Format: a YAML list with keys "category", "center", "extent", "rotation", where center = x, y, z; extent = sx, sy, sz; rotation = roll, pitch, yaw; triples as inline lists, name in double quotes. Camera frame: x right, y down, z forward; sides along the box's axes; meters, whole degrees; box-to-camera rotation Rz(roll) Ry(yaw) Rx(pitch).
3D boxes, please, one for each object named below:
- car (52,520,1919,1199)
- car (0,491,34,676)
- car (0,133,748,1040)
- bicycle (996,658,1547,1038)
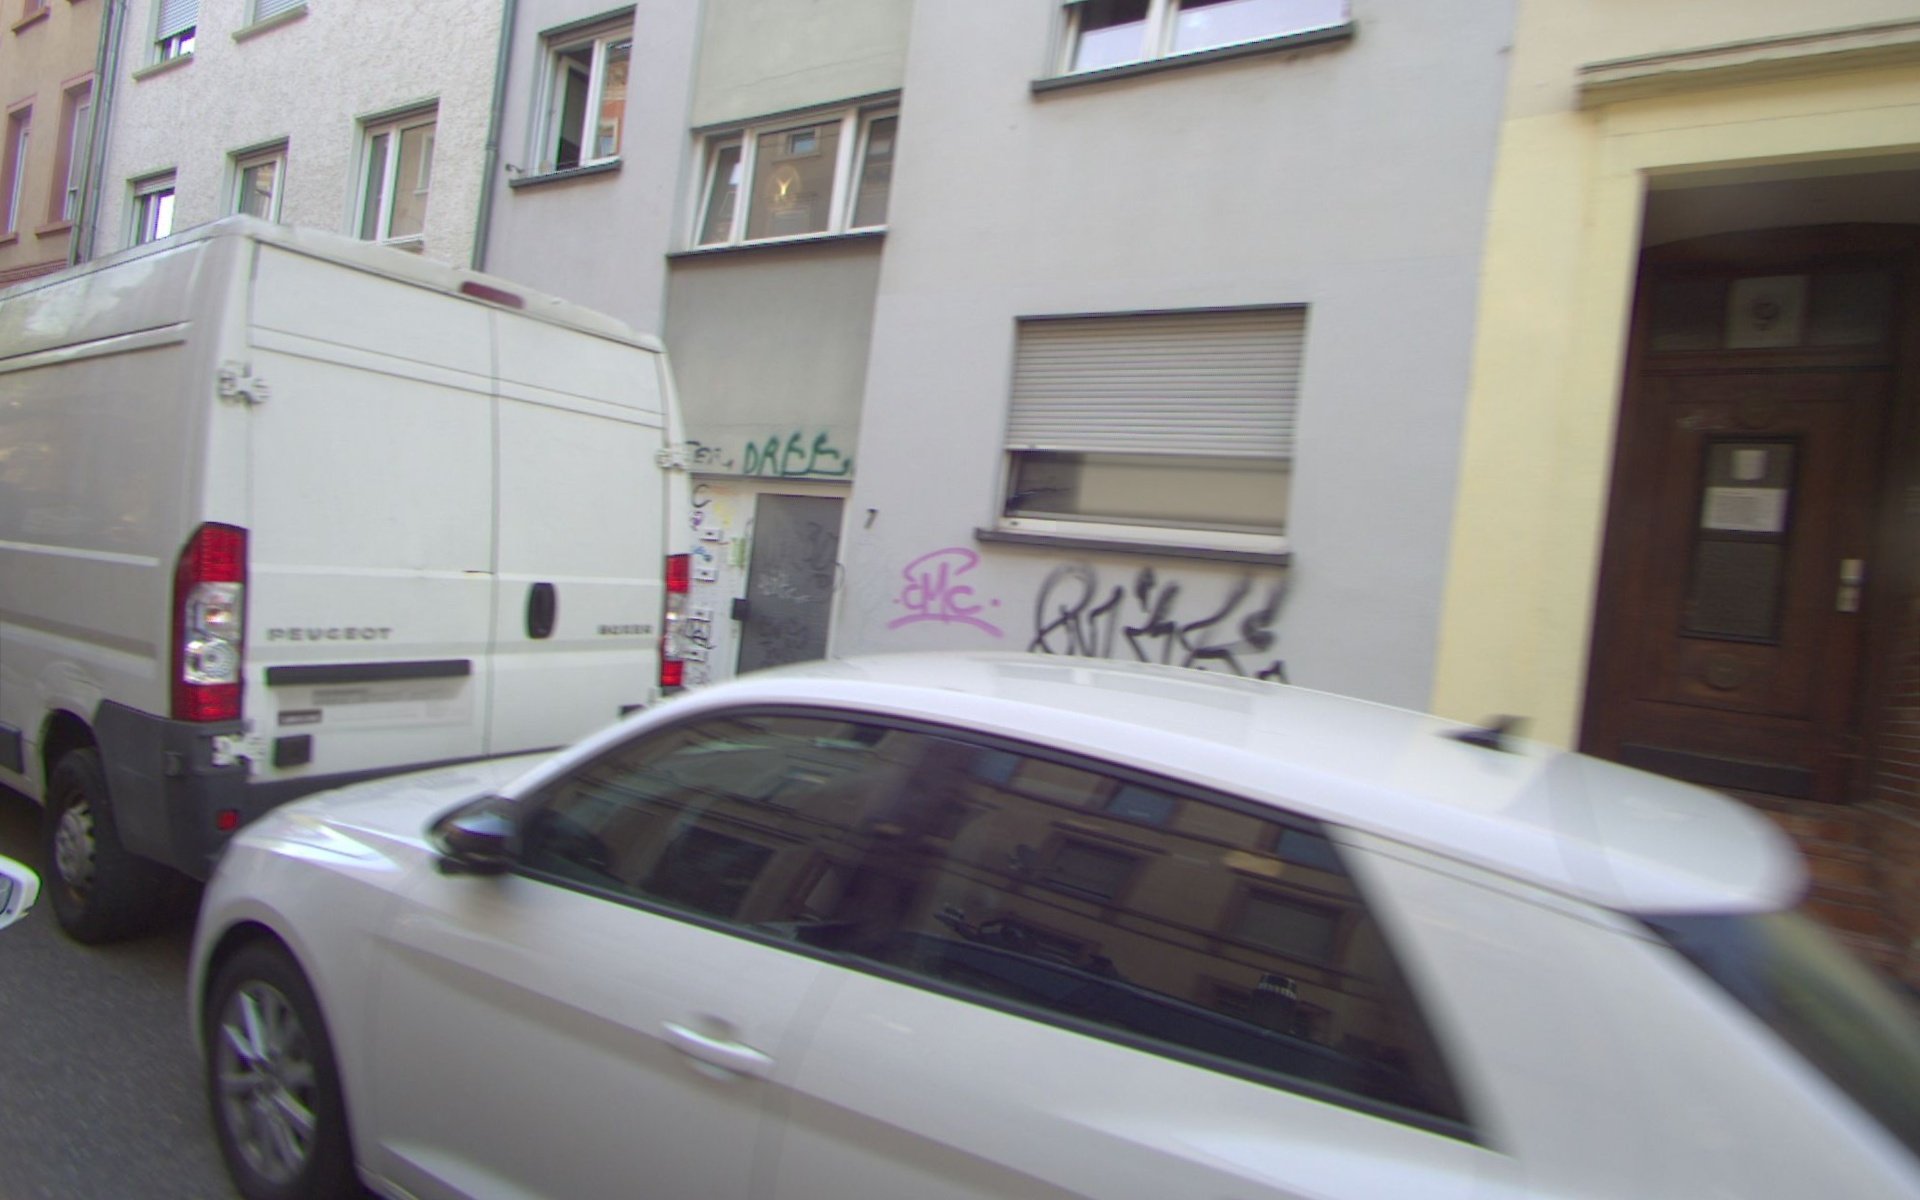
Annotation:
- category: "car"
  center: [-0.231, 0.775, 2.416]
  extent: [3.767, 1.447, 1.728]
  rotation: [7, 0, 30]
- category: "car"
  center: [-9.808, -0.389, 8.438]
  extent: [3.951, 1.488, 1.735]
  rotation: [7, 0, 28]
- category: "car"
  center: [-4.192, -0.236, 5.407]
  extent: [5.938, 2.582, 2.207]
  rotation: [7, 0, 33]
- category: "bicycle"
  center: [1.377, 1.016, 4.771]
  extent: [2.313, 1.174, 0.628]
  rotation: [7, 3, 31]
